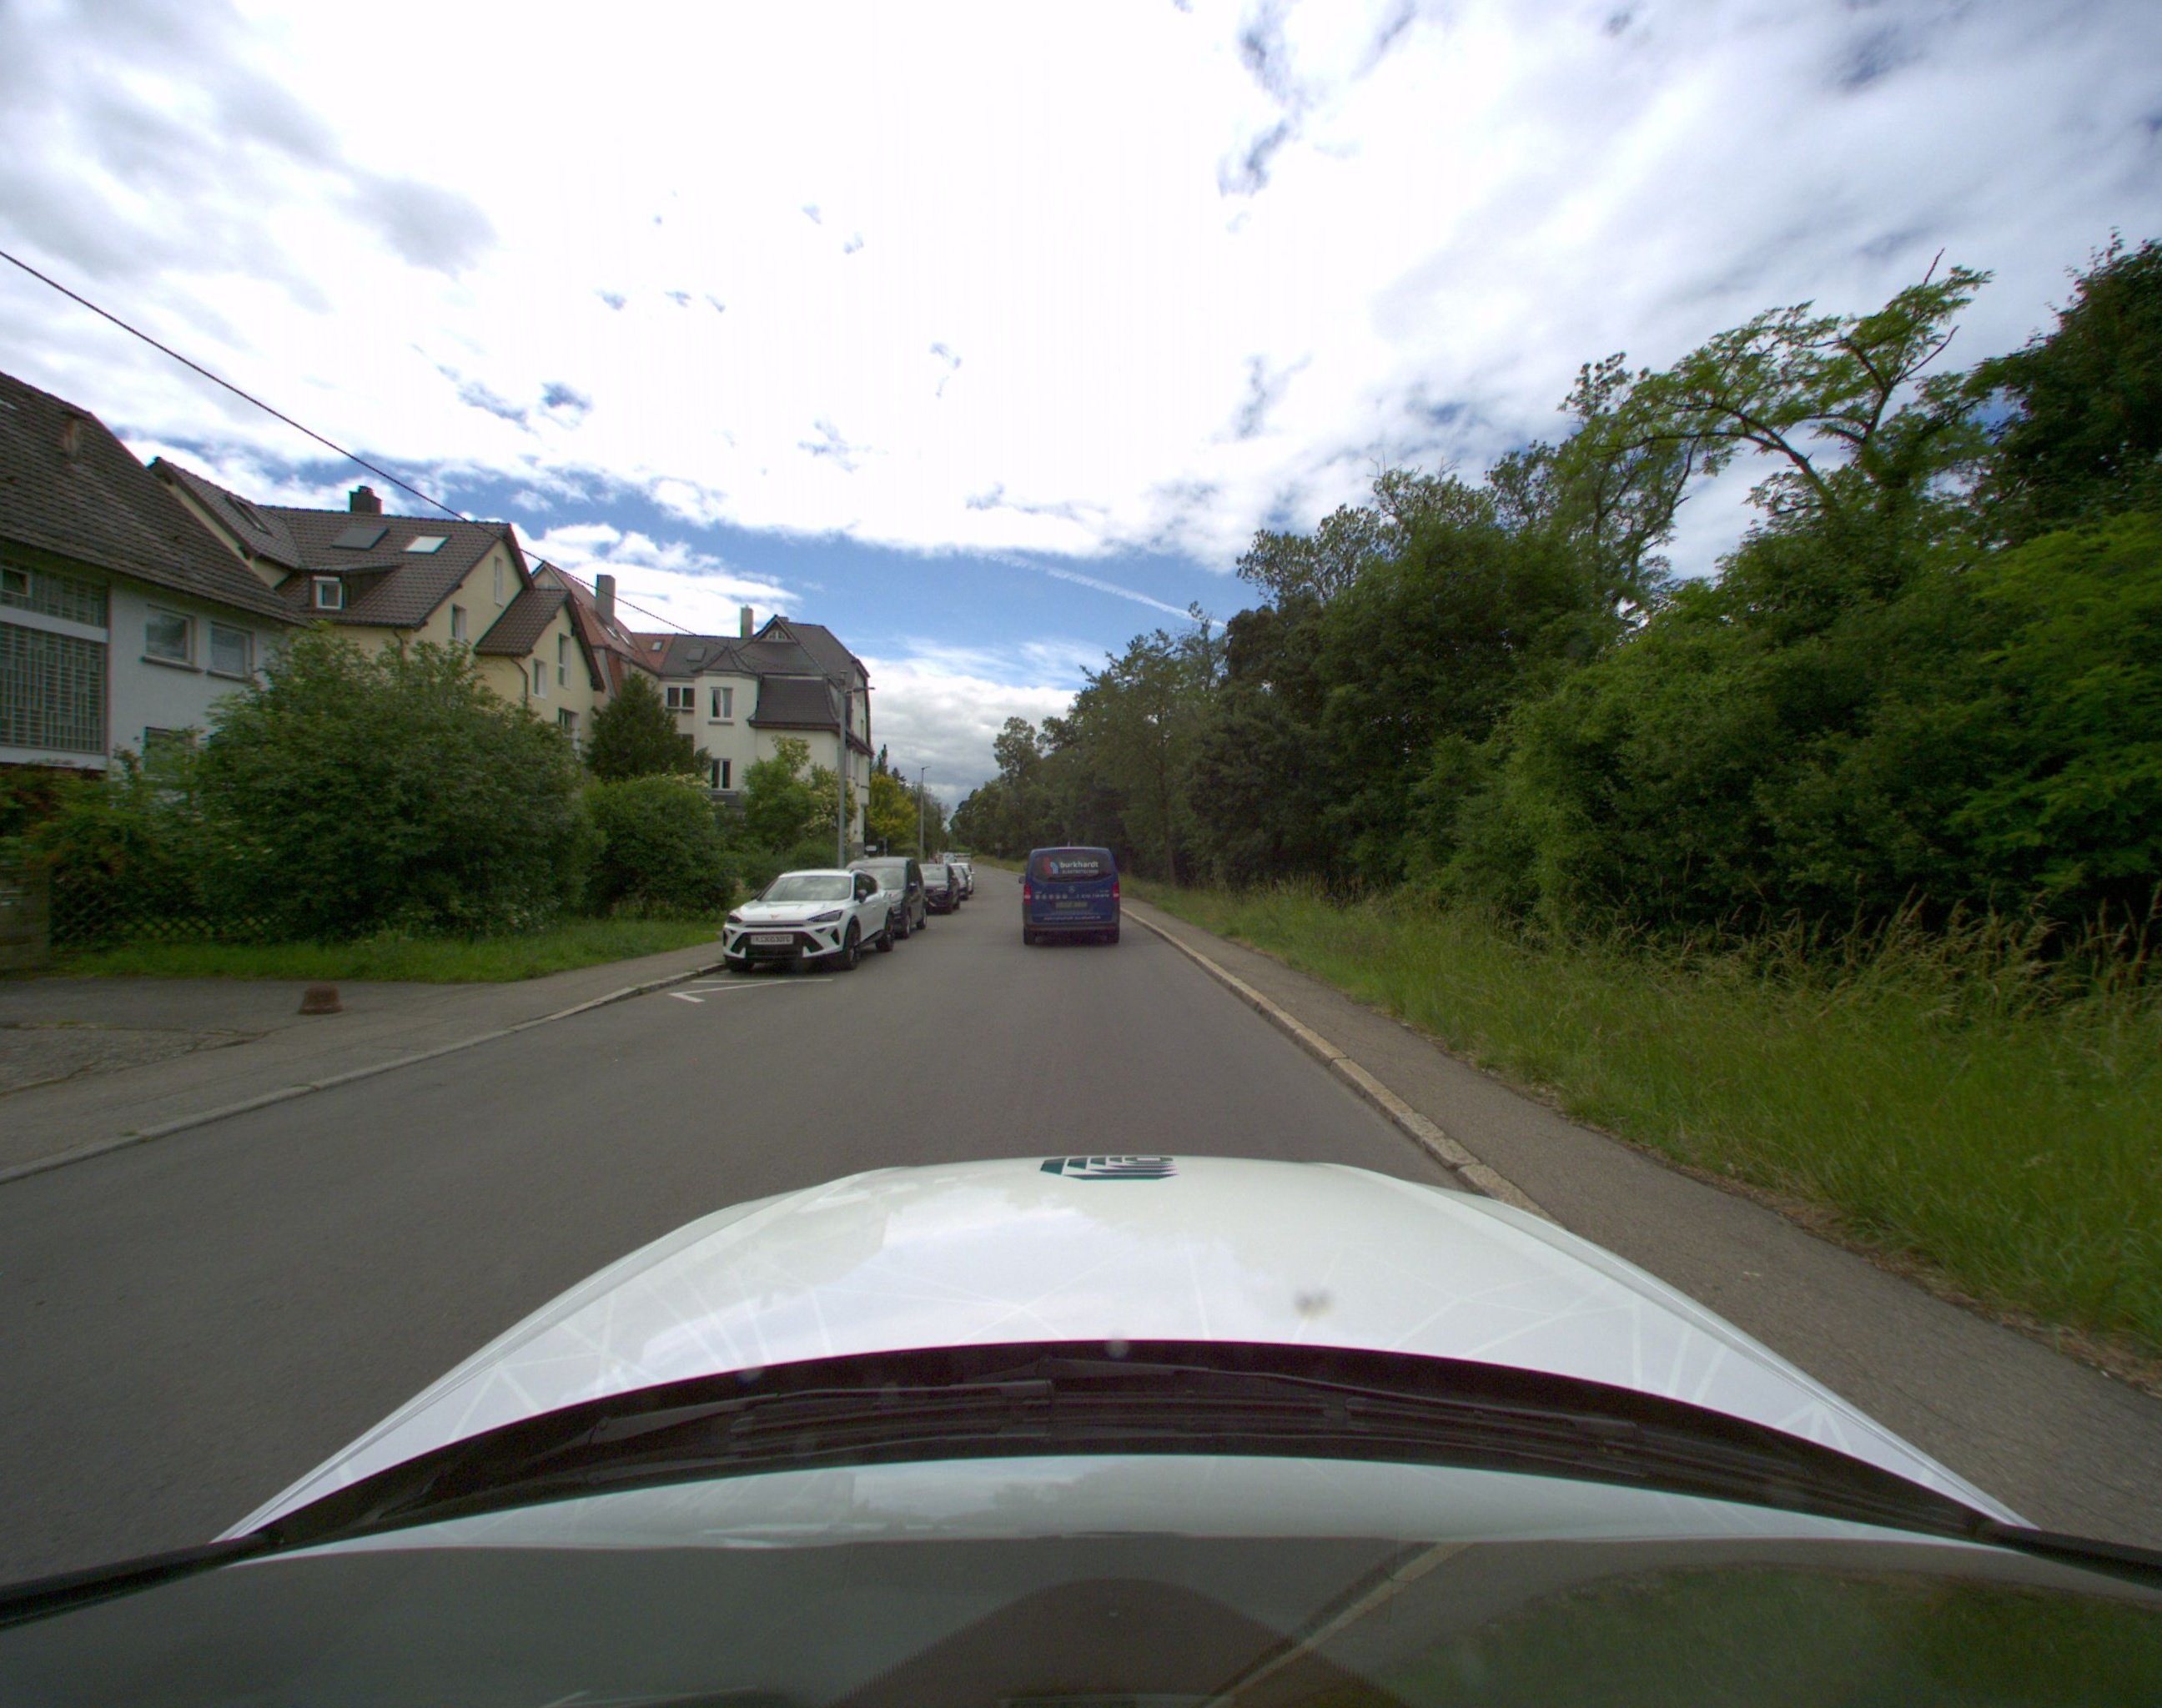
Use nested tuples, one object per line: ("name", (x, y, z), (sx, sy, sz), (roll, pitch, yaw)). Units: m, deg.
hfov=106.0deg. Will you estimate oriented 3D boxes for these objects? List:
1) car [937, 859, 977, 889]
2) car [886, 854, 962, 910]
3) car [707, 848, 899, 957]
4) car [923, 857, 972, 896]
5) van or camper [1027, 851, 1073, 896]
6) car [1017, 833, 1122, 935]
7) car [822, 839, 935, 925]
("car", (-6.263, 1.013, 41.429), (1.604, 1.342, 3.850), (4, -2, -4))
("car", (-5.158, 0.893, 27.251), (1.812, 1.616, 4.218), (4, -1, -3))
("car", (-4.315, 0.752, 13.421), (1.720, 1.493, 4.409), (0, -2, -2))
("car", (-5.804, 0.988, 35.798), (1.604, 1.513, 3.850), (4, -2, -3))
("van or camper", (-1.577, 0.899, 39.975), (2.016, 1.956, 4.889), (-2, 1, -4))
("car", (-0.309, 0.590, 17.068), (1.909, 1.838, 4.289), (1, -1, -3))
("car", (-4.557, 0.645, 18.921), (1.740, 1.764, 4.407), (0, -2, -3))
